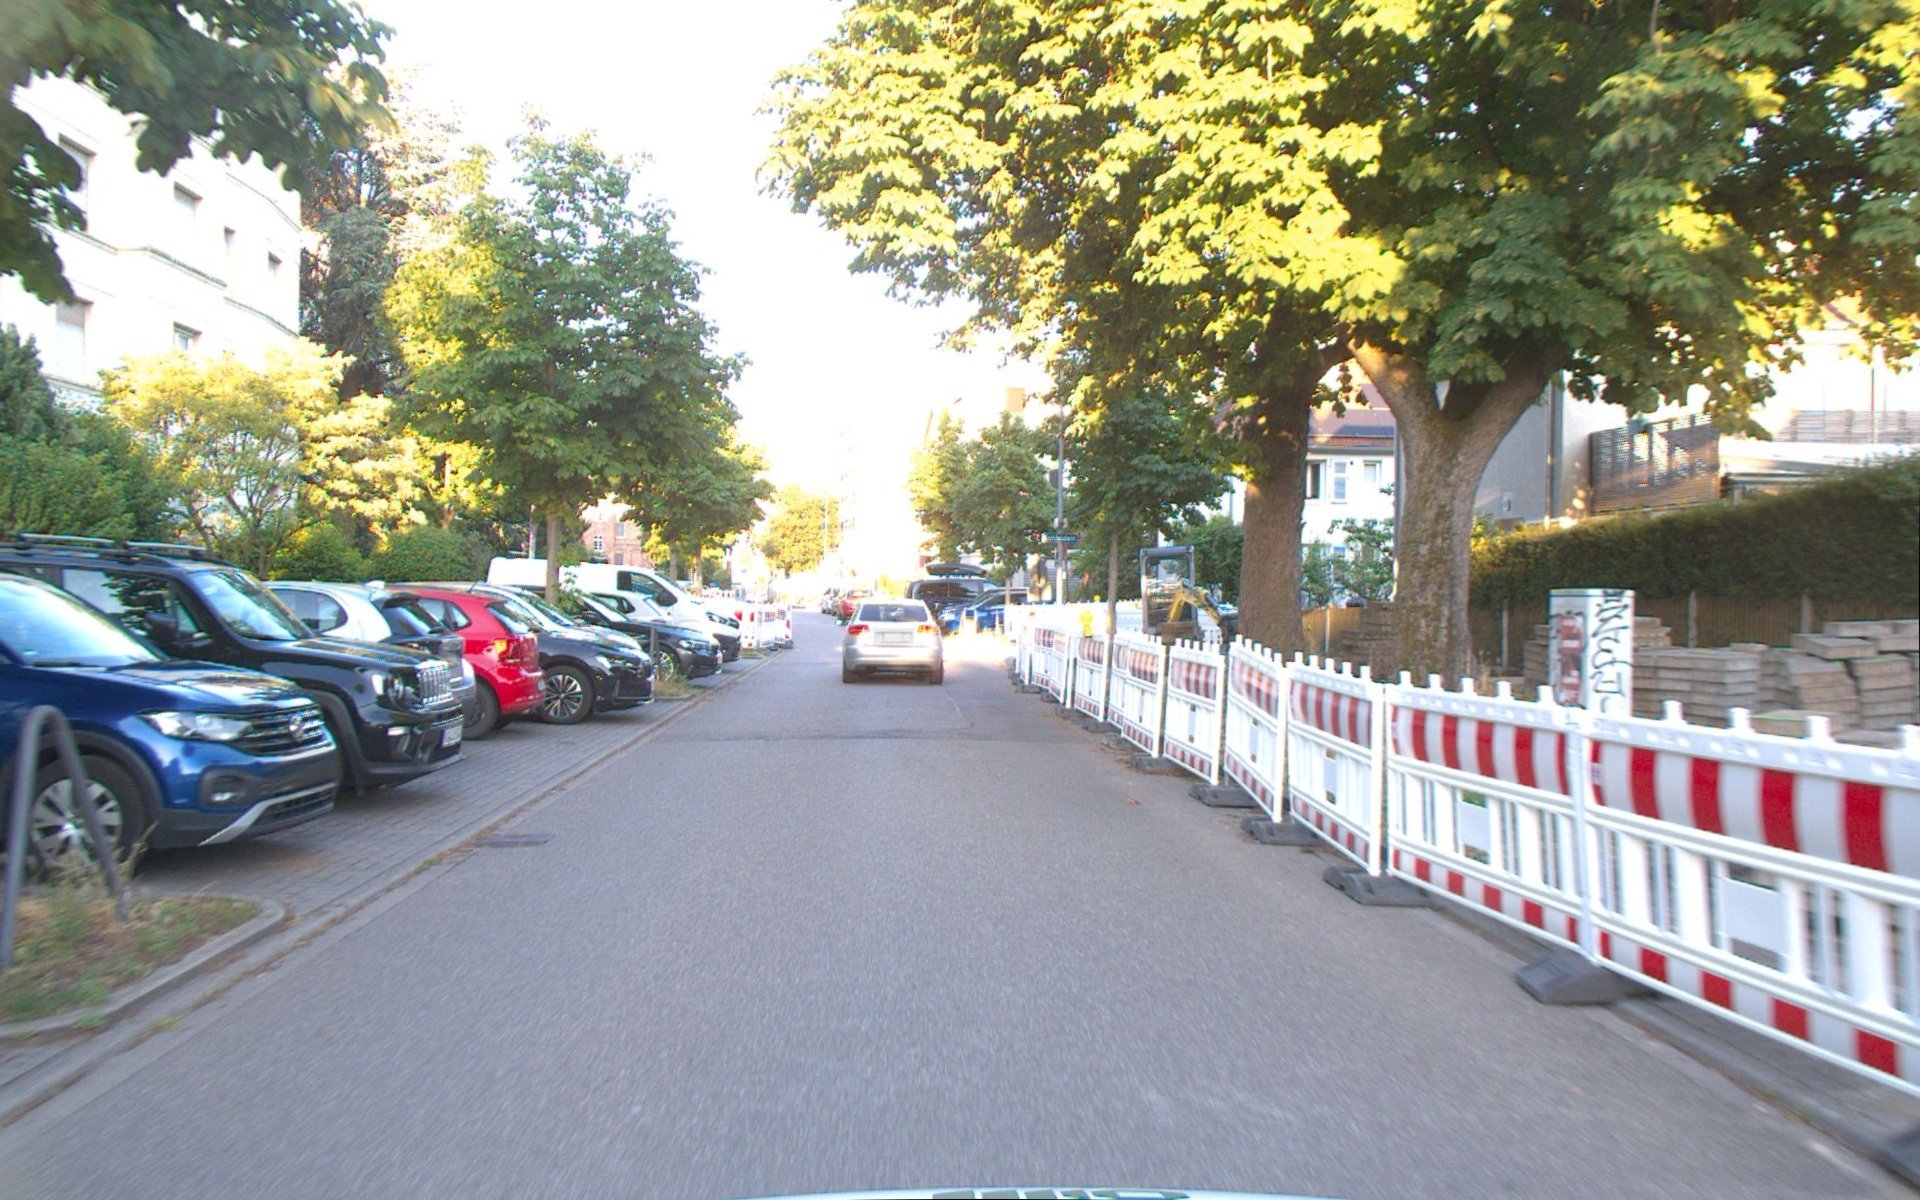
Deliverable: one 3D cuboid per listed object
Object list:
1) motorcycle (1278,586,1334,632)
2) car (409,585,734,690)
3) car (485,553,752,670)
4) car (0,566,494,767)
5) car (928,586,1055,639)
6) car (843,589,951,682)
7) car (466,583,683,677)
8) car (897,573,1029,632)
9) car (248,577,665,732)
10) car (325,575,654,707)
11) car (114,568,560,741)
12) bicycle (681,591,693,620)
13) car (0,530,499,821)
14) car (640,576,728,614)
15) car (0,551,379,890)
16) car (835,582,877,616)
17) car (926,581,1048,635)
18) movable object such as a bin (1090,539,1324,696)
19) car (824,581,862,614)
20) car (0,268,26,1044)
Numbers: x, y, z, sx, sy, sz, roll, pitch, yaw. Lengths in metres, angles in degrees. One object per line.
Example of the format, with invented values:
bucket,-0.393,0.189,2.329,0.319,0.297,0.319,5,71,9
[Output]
motorcycle,8.802,0.233,42.028,0.570,1.125,1.836,1,1,41
car,-5.977,0.577,25.922,4.678,1.496,1.879,1,0,-4
car,-6.372,0.210,31.311,4.678,2.049,1.998,1,0,-5
car,-6.160,0.527,14.118,3.910,1.551,1.787,1,1,-6
car,1.043,0.421,55.584,3.920,1.680,1.758,1,1,-15
car,-1.133,0.621,29.201,1.771,1.514,3.997,-1,-1,-3
car,-6.635,0.492,28.734,3.346,1.509,1.758,1,1,-2
car,0.091,0.087,60.537,4.477,2.058,2.095,1,1,-12
car,-5.684,0.604,19.180,4.323,1.643,1.897,1,1,-8
car,-6.098,0.514,21.842,3.912,1.606,1.798,1,1,-8
car,-6.221,0.526,16.897,3.910,1.611,1.729,1,1,-6
bicycle,-11.897,0.234,72.043,0.398,1.248,1.981,1,1,-12
car,-5.382,0.464,11.528,3.781,1.808,1.843,1,0,-1
car,-12.794,-0.258,76.541,3.916,1.653,1.995,1,1,-12
car,-5.346,0.546,8.891,3.781,1.622,1.785,1,1,-1
car,-4.913,-0.048,77.827,1.698,1.509,3.551,1,1,-8
car,0.927,0.264,58.133,3.916,1.799,1.995,1,1,-12
movable object such as a bin,4.134,0.252,28.801,2.579,2.444,5.187,1,1,-9
car,-6.273,-0.148,88.280,1.775,1.641,3.574,1,1,-8
car,-5.240,0.151,4.306,4.411,2.473,1.999,1,0,-2
